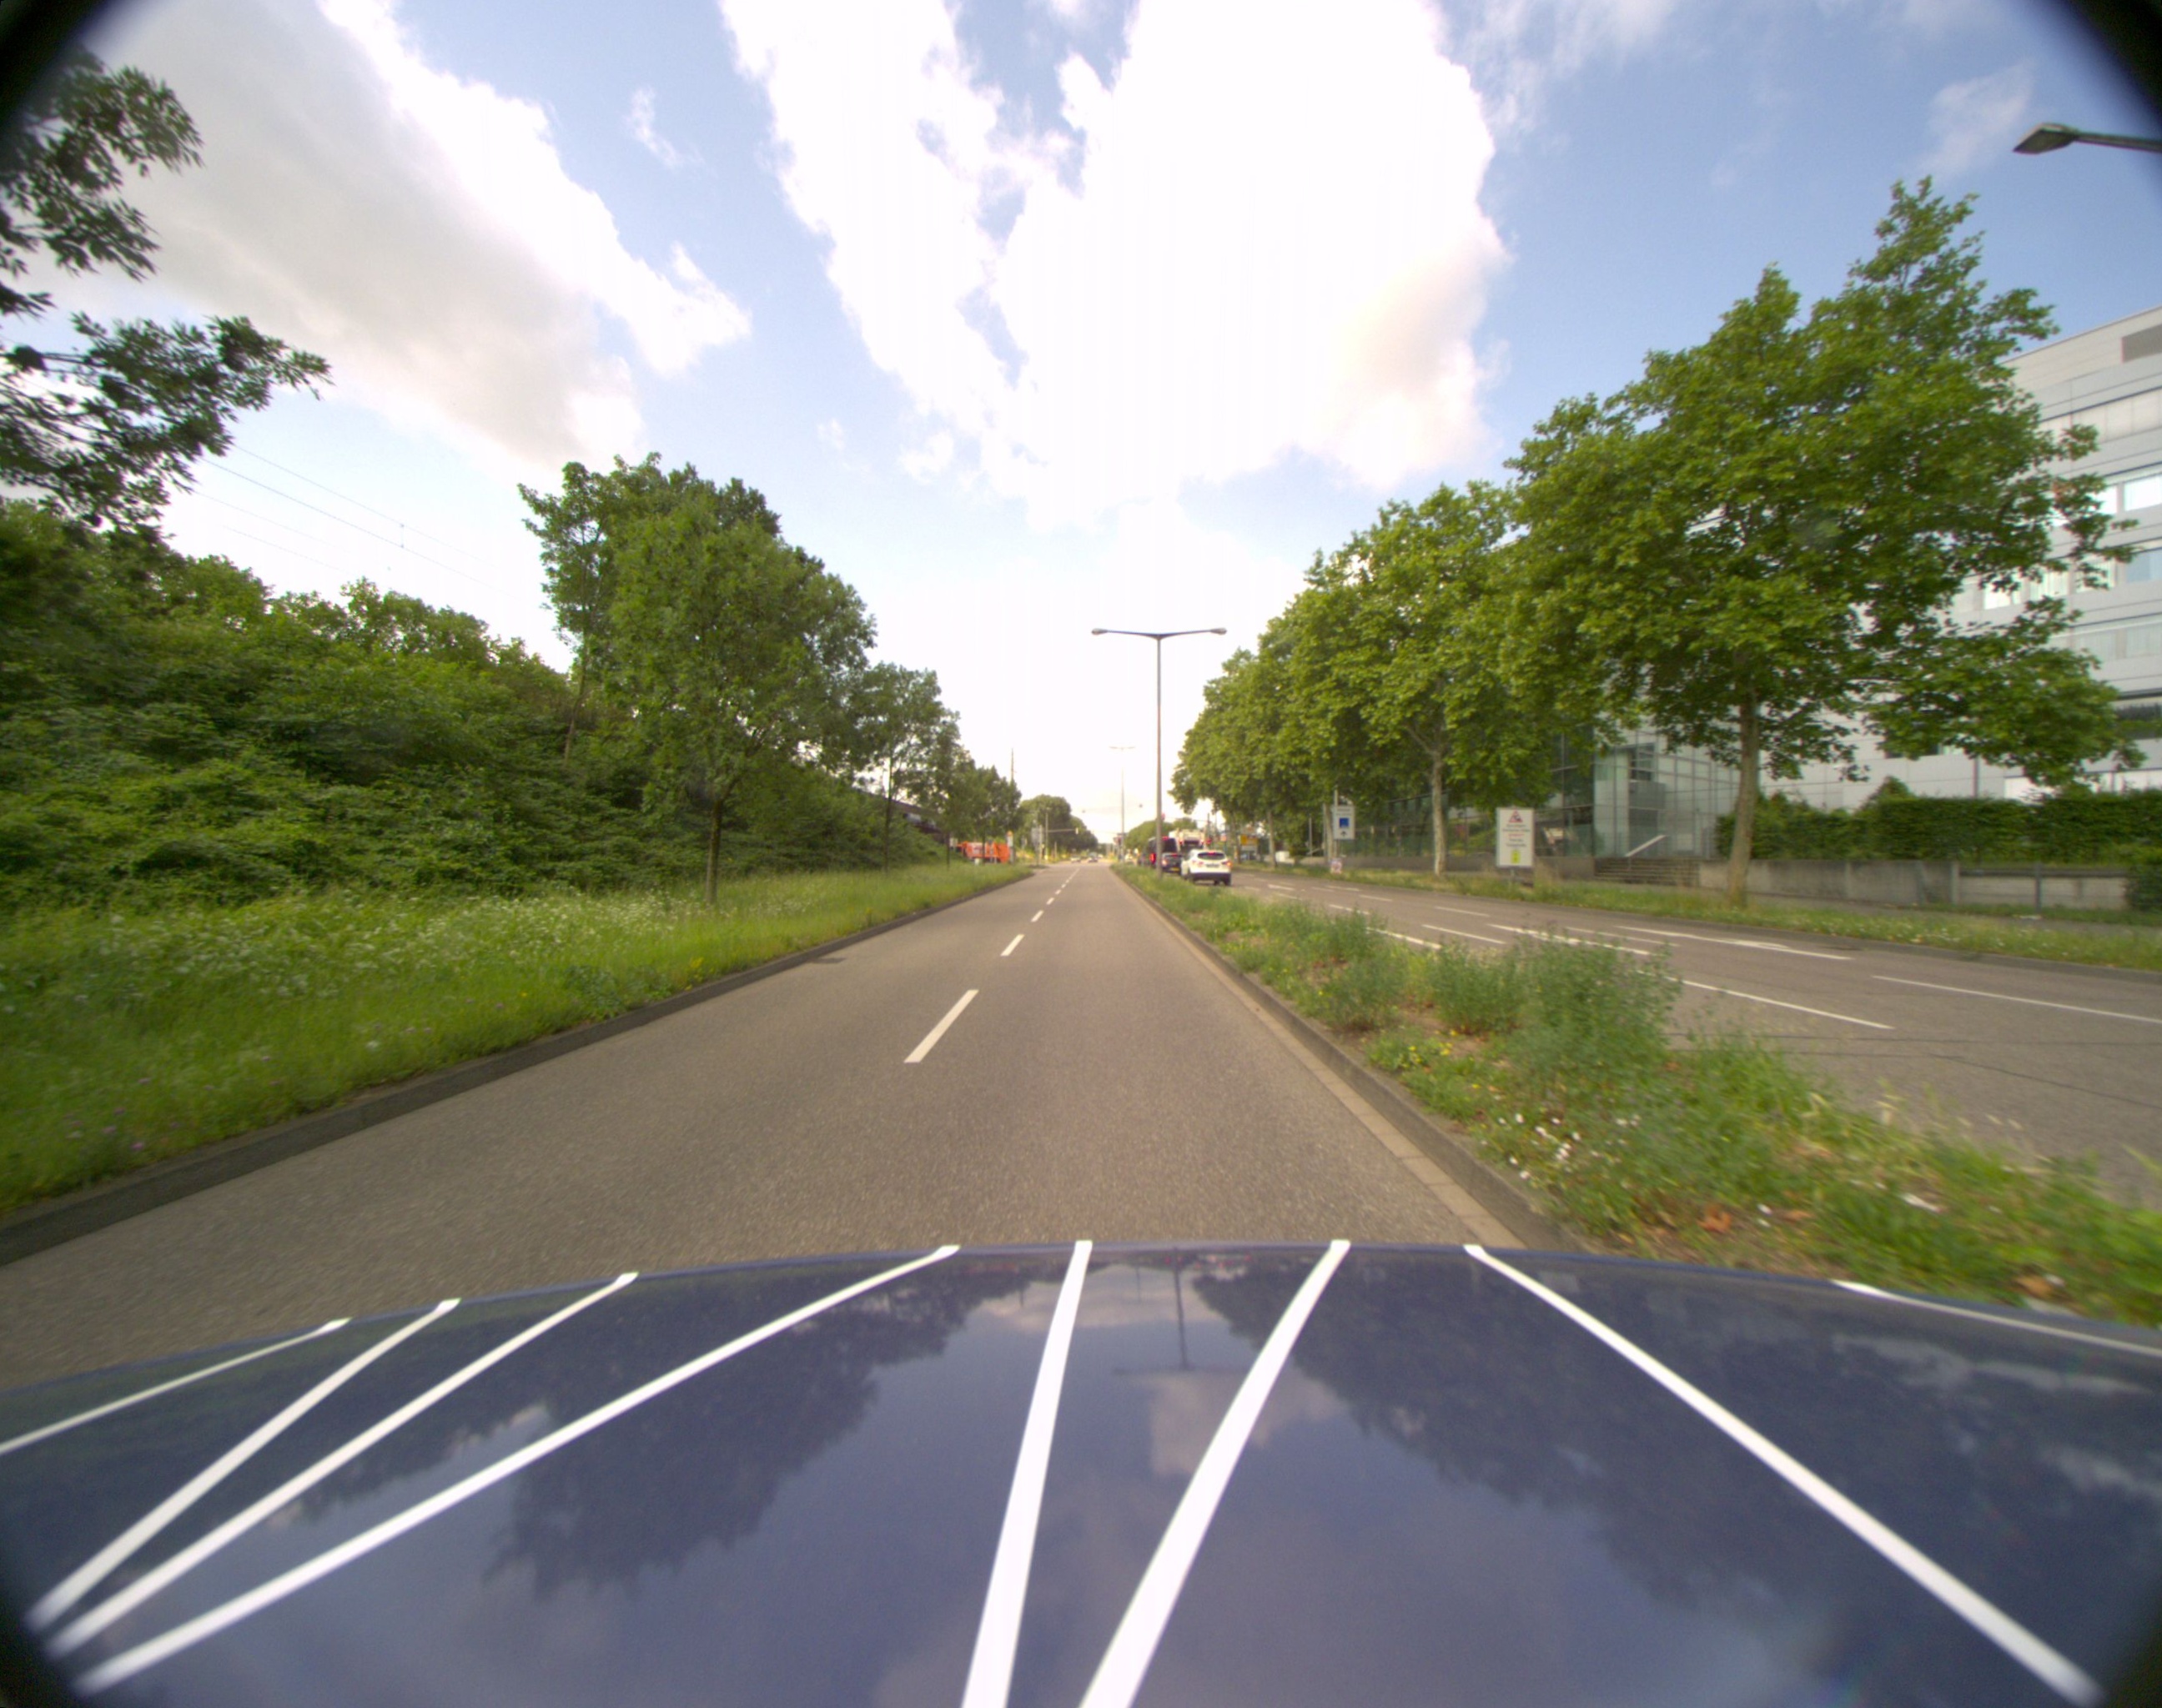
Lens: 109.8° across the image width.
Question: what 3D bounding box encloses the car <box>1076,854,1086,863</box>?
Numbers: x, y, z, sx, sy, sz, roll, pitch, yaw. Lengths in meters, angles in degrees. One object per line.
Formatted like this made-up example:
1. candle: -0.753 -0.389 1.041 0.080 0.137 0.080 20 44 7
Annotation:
1. car: 0.056 0.812 138.264 1.716 1.477 4.000 -1 0 1

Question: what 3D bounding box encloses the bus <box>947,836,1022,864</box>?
1. bus: -13.808 -0.650 109.200 10.410 3.447 2.739 -4 4 -34

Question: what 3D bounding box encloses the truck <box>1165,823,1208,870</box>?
1. truck: 9.325 -0.677 68.128 2.656 3.865 10.160 1 0 2

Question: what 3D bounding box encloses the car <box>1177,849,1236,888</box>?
1. car: 5.588 0.609 34.221 1.818 1.630 4.351 1 0 -1

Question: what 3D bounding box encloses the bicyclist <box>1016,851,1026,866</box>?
1. bicyclist: -6.630 0.483 84.130 0.824 1.670 0.843 -3 5 -27

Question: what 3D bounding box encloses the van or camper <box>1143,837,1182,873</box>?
1. van or camper: 6.235 0.079 58.751 2.110 2.644 6.716 1 0 -1

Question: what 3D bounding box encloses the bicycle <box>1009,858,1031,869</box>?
1. bicycle: -6.737 1.013 84.109 2.321 1.088 0.843 -3 5 -27

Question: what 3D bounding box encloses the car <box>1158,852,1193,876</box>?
1. car: 6.091 0.635 49.318 1.698 1.455 3.940 0 1 -1
